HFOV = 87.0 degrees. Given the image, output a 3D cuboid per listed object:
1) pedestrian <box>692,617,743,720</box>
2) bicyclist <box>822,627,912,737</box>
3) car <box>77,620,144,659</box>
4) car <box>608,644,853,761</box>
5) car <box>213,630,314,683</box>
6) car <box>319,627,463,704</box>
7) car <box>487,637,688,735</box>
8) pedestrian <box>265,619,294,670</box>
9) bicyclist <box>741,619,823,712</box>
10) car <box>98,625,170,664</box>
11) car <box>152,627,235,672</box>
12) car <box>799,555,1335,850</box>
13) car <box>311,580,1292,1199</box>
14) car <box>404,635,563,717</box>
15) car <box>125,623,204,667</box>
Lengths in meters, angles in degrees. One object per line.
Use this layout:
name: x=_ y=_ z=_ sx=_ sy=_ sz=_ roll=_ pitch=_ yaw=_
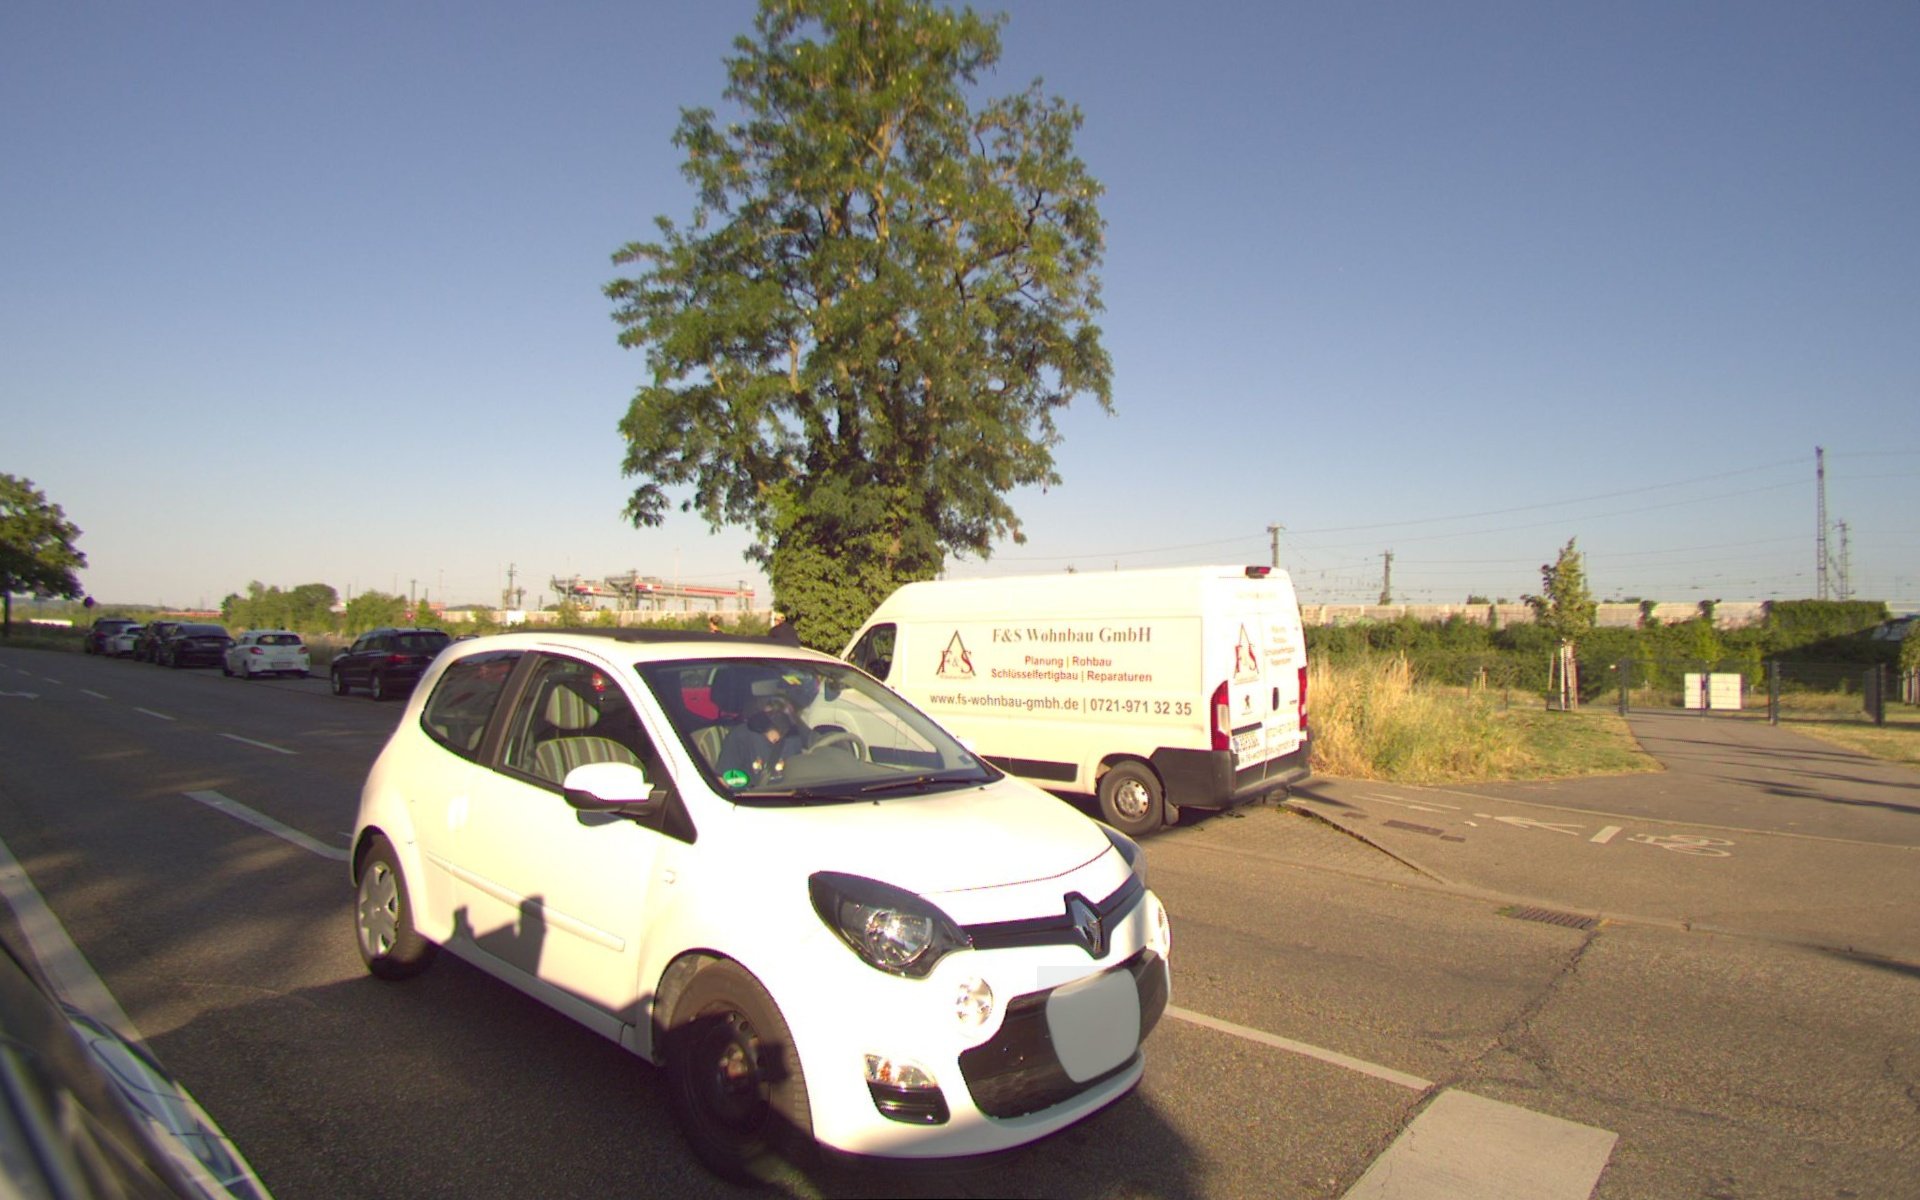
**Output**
pedestrian: x=-4.907 y=1.365 z=20.460 sx=0.729 sy=2.029 sz=0.608 roll=-1 pitch=-4 yaw=39
bicyclist: x=-1.439 y=1.242 z=15.635 sx=1.145 sy=1.609 sz=0.758 roll=-1 pitch=-4 yaw=40
car: x=-40.840 y=1.894 z=48.604 sx=4.219 sy=1.789 sz=1.866 roll=-1 pitch=-4 yaw=43
car: x=-3.550 y=1.472 z=15.391 sx=3.692 sy=1.498 sz=1.723 roll=-1 pitch=-4 yaw=40
car: x=-21.559 y=1.729 z=31.288 sx=3.582 sy=1.538 sz=1.684 roll=-1 pitch=-4 yaw=42
car: x=-13.598 y=1.524 z=24.111 sx=4.003 sy=1.672 sz=1.642 roll=-1 pitch=-4 yaw=40
car: x=-6.800 y=1.493 z=18.313 sx=3.814 sy=1.541 sz=1.723 roll=-1 pitch=-4 yaw=40
pedestrian: x=-27.397 y=1.795 z=40.747 sx=0.710 sy=2.029 sz=0.697 roll=-1 pitch=-4 yaw=42
bicyclist: x=-3.207 y=1.160 z=18.227 sx=1.144 sy=1.609 sz=0.856 roll=-1 pitch=-4 yaw=36
car: x=-36.470 y=1.950 z=44.656 sx=4.219 sy=1.586 sz=1.799 roll=-1 pitch=-4 yaw=43
car: x=-28.234 y=1.813 z=37.224 sx=1.798 sy=1.538 sz=4.292 roll=5 pitch=-4 yaw=-45
car: x=0.927 y=0.893 z=11.077 sx=5.556 sy=2.455 sz=2.207 roll=-1 pitch=-1 yaw=40
car: x=-0.871 y=0.771 z=3.937 sx=3.772 sy=1.480 sz=1.683 roll=-1 pitch=-4 yaw=40
car: x=-10.016 y=1.545 z=21.192 sx=3.577 sy=1.541 sz=1.642 roll=-1 pitch=-4 yaw=40
car: x=-32.383 y=1.811 z=41.146 sx=4.219 sy=1.650 sz=1.799 roll=-1 pitch=-4 yaw=43
